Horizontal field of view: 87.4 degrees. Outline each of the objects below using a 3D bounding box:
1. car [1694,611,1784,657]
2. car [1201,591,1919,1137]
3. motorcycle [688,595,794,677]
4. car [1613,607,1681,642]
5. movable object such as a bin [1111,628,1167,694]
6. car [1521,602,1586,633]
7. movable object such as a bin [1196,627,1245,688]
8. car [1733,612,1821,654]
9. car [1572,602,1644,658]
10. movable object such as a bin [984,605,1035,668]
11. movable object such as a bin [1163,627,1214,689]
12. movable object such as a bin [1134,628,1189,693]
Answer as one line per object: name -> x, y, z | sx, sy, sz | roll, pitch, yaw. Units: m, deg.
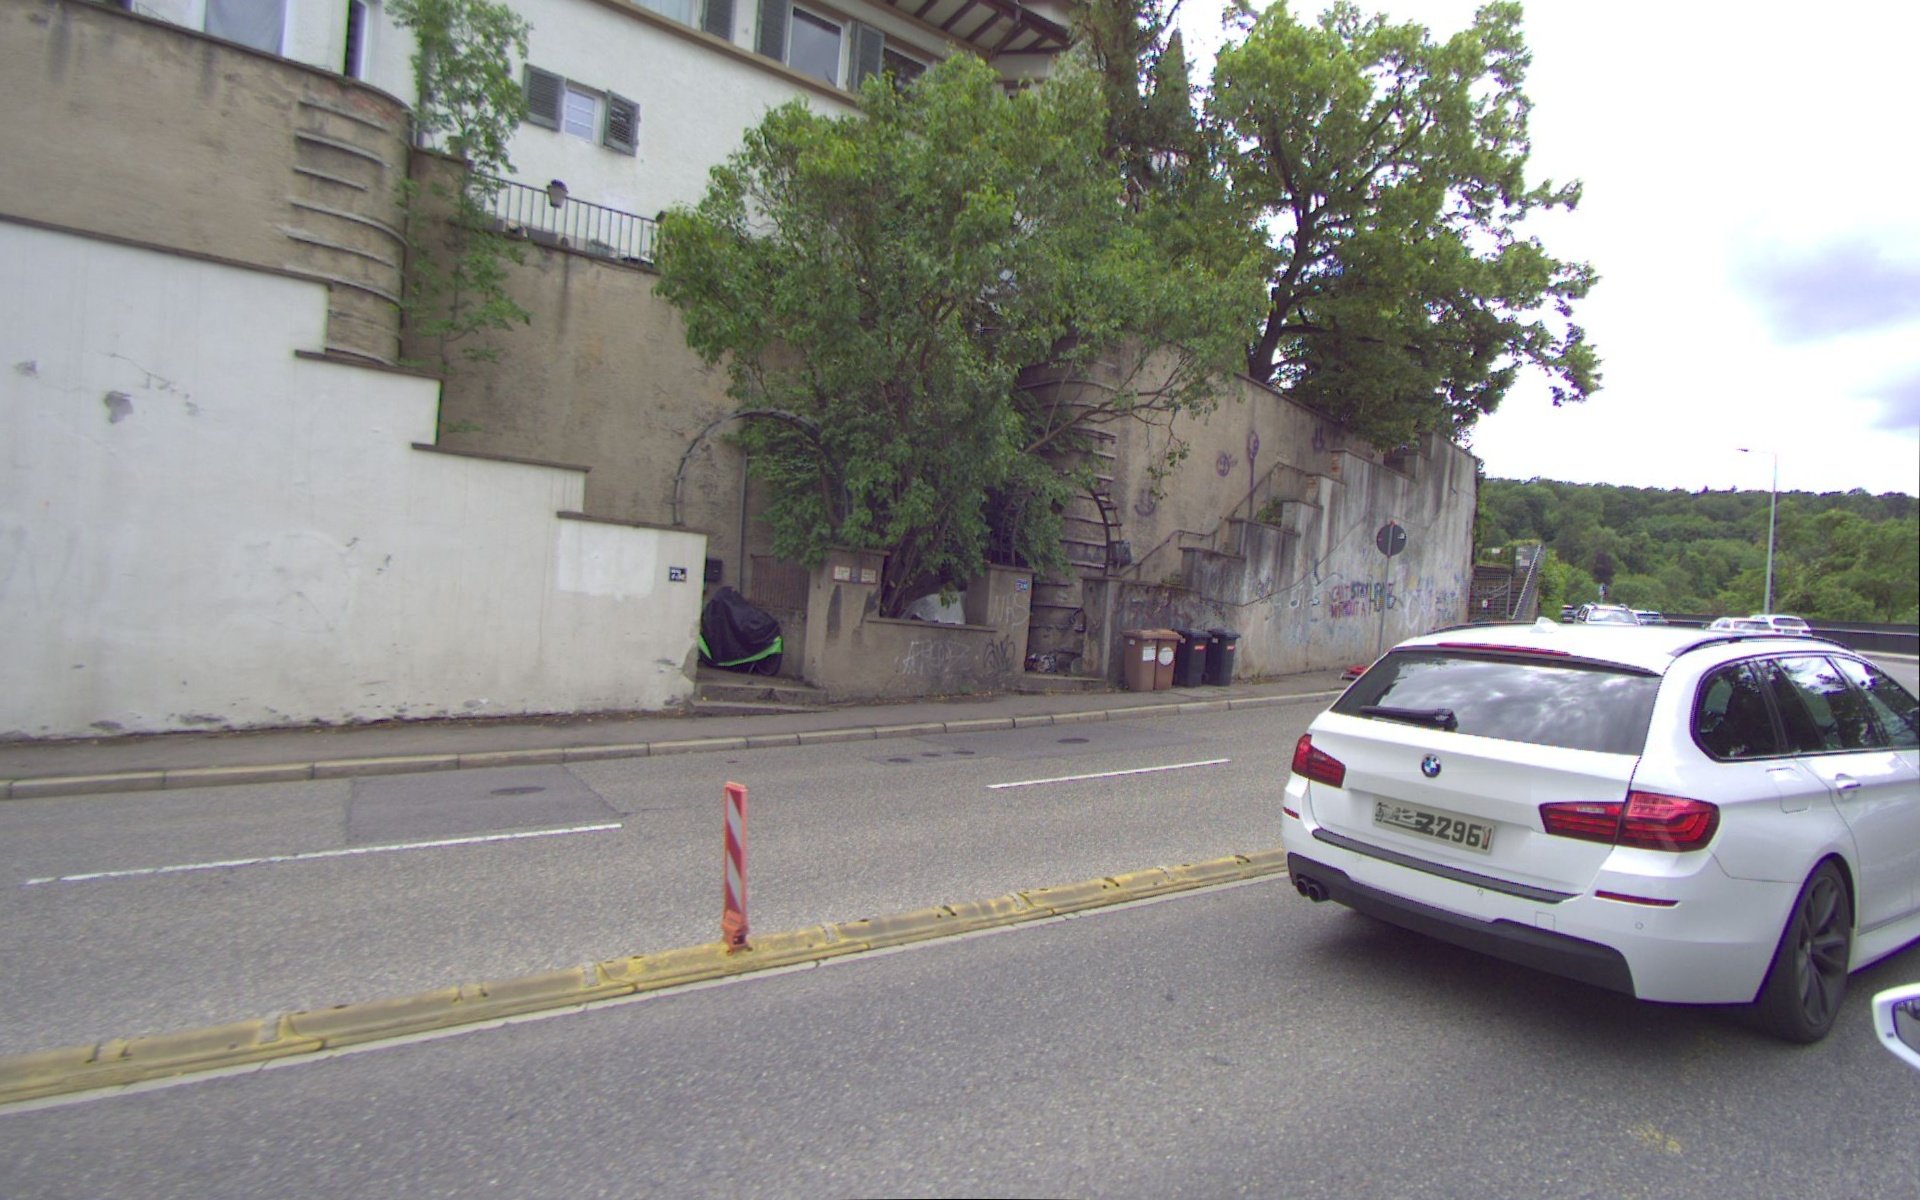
car -> 31.774, 1.326, 41.090 | 1.876, 1.595, 3.997 | 3, 2, 23
car -> 3.588, 0.803, 4.979 | 4.828, 1.486, 1.836 | 1, 2, -34
motorcycle -> -3.176, 0.510, 14.495 | 1.575, 1.044, 0.528 | 4, 0, 37
car -> 35.785, 1.224, 52.428 | 1.961, 1.561, 4.008 | 3, 2, 22
movable object such as a bin -> 2.770, 0.936, 15.587 | 0.551, 0.962, 0.602 | 1, 2, -39
car -> 37.669, 1.067, 63.882 | 1.785, 1.712, 4.000 | 3, 2, 2
movable object such as a bin -> 4.367, 0.957, 16.839 | 0.562, 0.962, 0.538 | 1, 2, -39
car -> 36.587, 1.415, 45.107 | 1.962, 1.607, 3.997 | 3, 2, 23
car -> 23.772, 1.036, 37.010 | 1.882, 1.853, 5.297 | 1, 0, 29
movable object such as a bin -> 0.847, 0.616, 17.212 | 0.576, 1.035, 0.602 | 1, 2, -39
movable object such as a bin -> 3.738, 0.938, 16.444 | 0.562, 0.962, 0.538 | 1, 2, -39
movable object such as a bin -> 3.198, 0.946, 15.955 | 0.576, 0.962, 0.602 | 1, 2, -39
